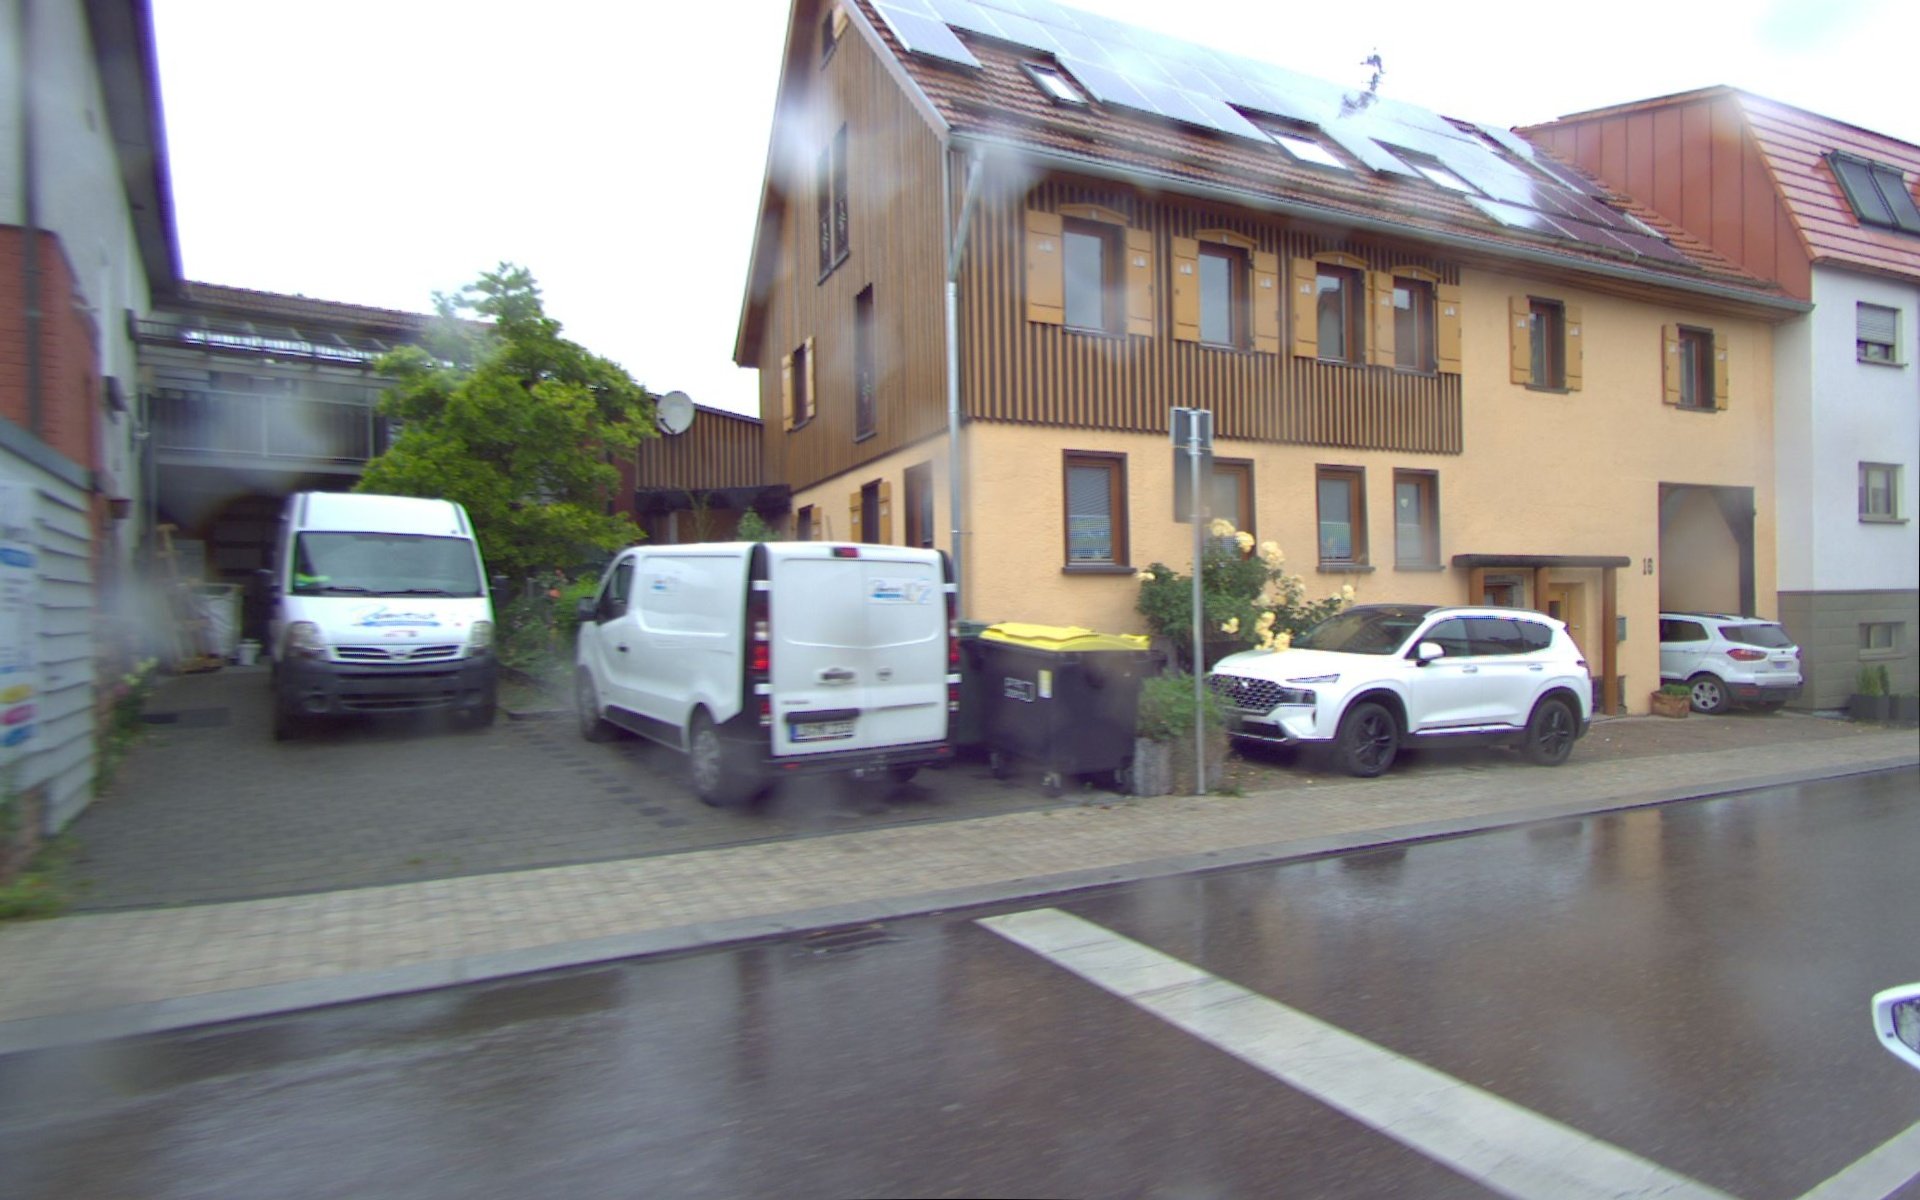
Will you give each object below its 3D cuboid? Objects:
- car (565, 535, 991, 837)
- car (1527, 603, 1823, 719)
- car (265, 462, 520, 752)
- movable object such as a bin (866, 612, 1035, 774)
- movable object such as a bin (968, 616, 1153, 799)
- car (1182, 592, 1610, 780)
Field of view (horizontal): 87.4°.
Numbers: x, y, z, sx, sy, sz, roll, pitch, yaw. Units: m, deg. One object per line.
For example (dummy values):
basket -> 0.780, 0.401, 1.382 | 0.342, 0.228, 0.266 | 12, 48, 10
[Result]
car -> -1.895, 0.459, 9.030 | 1.981, 2.006, 4.474 | -1, 3, -37
car -> 12.848, 1.010, 18.351 | 1.852, 1.692, 3.977 | 1, 2, -23
car -> -6.827, 0.017, 11.906 | 2.047, 2.561, 5.810 | 1, 1, -33
movable object such as a bin -> -0.122, 0.830, 9.658 | 0.985, 1.386, 1.498 | 1, 0, -32
movable object such as a bin -> 0.838, 0.857, 8.614 | 0.985, 1.386, 1.278 | 1, 1, -32
car -> 4.841, 0.846, 11.057 | 4.555, 1.728, 1.808 | 1, -1, -26
